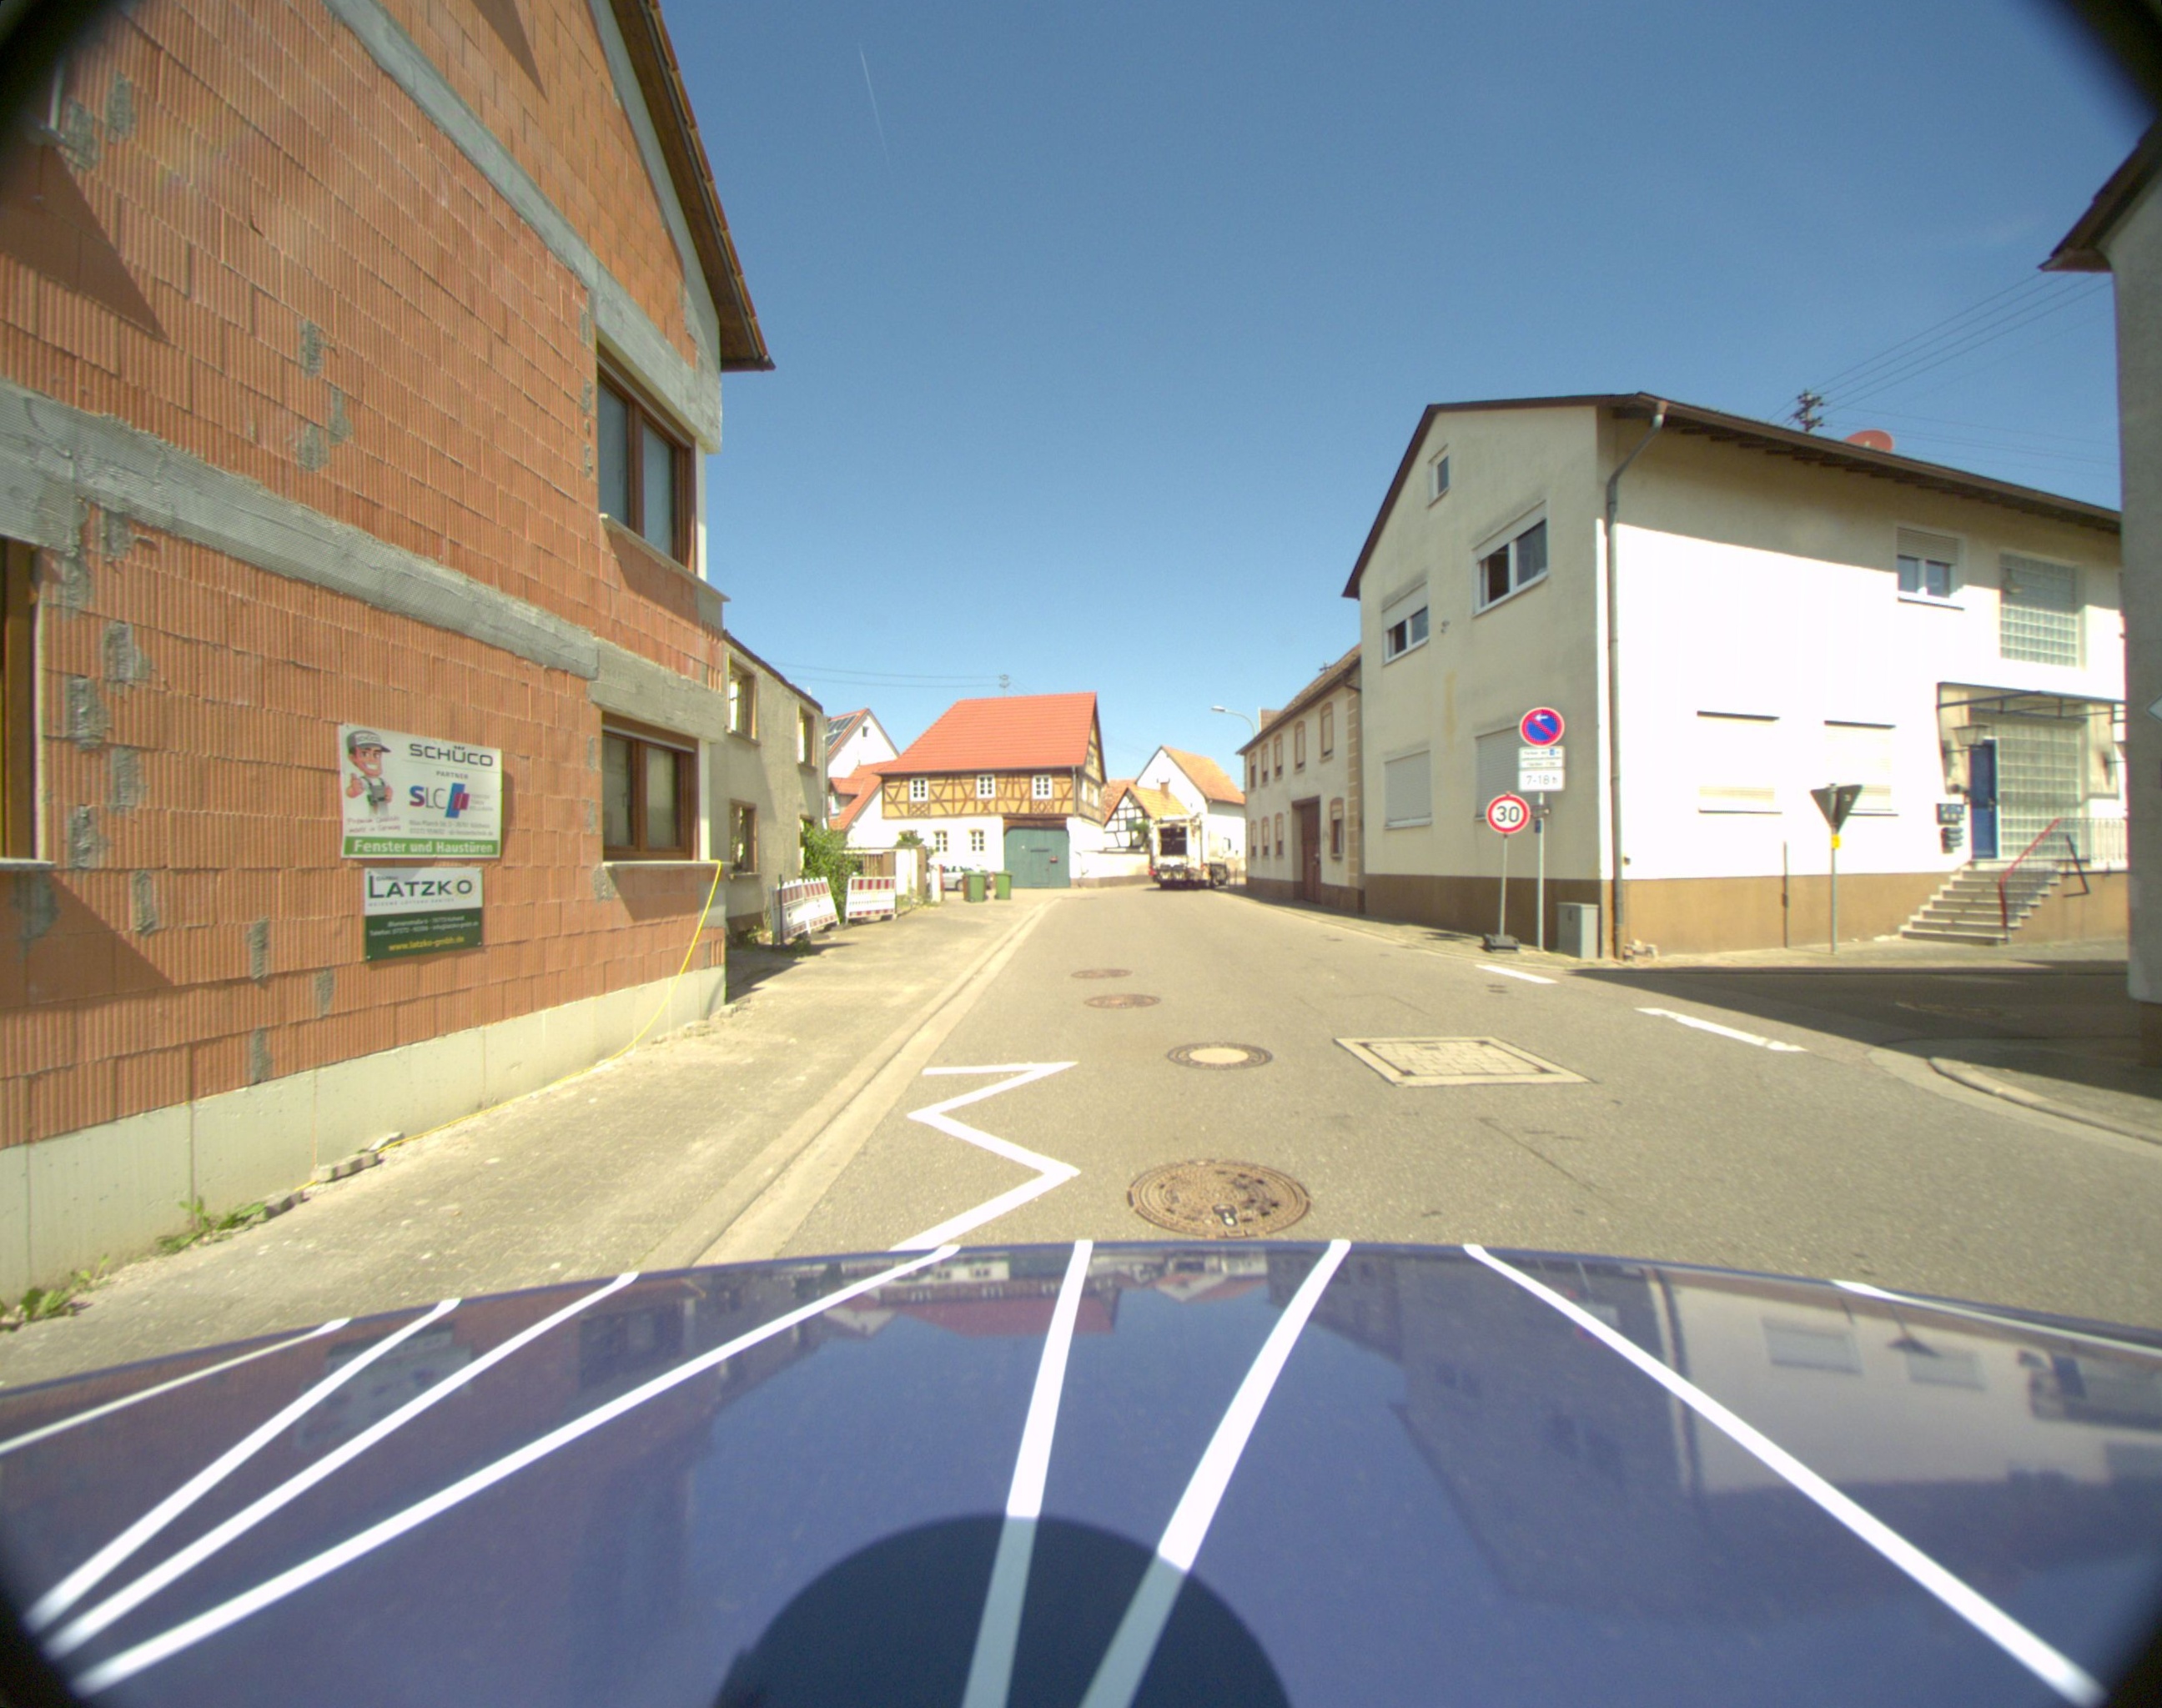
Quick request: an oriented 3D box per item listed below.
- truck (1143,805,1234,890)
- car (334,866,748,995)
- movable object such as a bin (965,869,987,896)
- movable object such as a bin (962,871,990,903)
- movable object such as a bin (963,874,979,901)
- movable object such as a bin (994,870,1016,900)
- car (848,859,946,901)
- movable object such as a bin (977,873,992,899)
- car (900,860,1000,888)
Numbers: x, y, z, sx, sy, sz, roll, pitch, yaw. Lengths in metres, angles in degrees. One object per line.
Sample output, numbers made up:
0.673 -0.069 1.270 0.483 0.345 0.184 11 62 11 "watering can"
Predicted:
5.818 -0.304 38.994 2.698 3.728 10.884 -1 0 18 "truck"
-6.890 0.924 10.115 4.100 1.498 1.869 0 0 -4 "car"
-4.299 1.171 31.261 0.721 1.075 0.755 -1 0 6 "movable object such as a bin"
-3.707 1.159 26.874 0.763 1.066 0.671 -1 0 -31 "movable object such as a bin"
-4.072 1.240 28.157 0.466 0.965 0.496 -1 0 8 "movable object such as a bin"
-2.888 1.178 29.038 0.688 1.085 0.638 -1 0 9 "movable object such as a bin"
-7.067 0.954 29.687 1.813 1.519 4.302 0 0 16 "car"
-3.577 1.198 28.193 0.445 0.944 0.463 -1 1 9 "movable object such as a bin"
-6.870 1.050 40.038 4.759 1.443 2.002 -1 0 12 "car"
